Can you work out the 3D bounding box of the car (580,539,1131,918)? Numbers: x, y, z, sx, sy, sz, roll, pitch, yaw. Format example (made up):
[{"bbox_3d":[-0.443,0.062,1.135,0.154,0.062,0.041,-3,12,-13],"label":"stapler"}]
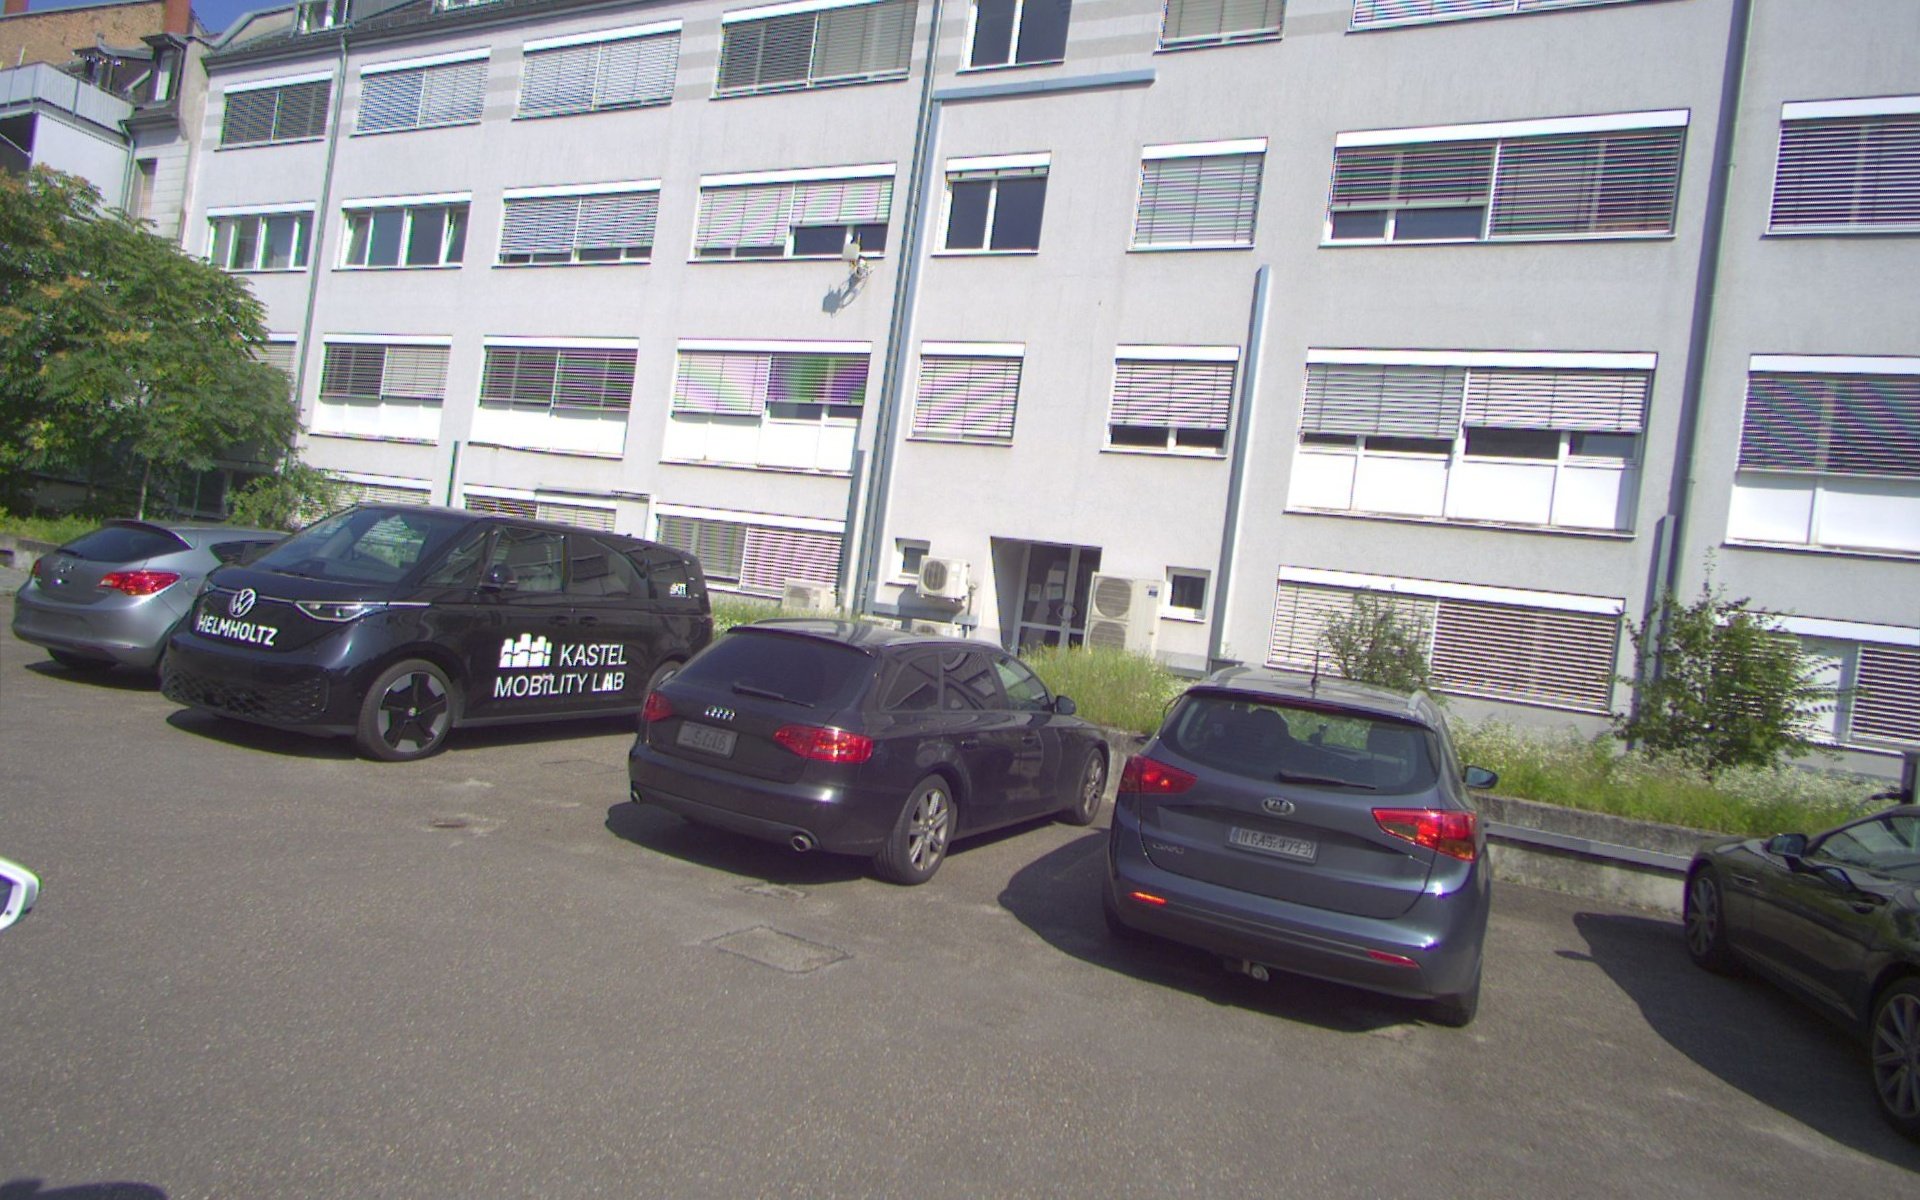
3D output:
[{"bbox_3d":[-0.342,0.795,7.103,1.740,1.711,4.129,7,-2,27],"label":"car"}]

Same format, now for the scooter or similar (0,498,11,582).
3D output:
[{"bbox_3d":[-15.392,-1.008,15.328,1.324,1.276,0.379,7,0,-2],"label":"scooter or similar"}]

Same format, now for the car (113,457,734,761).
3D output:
[{"bbox_3d":[-4.116,0.169,8.748,1.848,1.815,4.517,6,-2,21],"label":"car"}]

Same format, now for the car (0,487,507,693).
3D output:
[{"bbox_3d":[-6.731,0.017,9.895,1.742,1.499,3.946,6,-2,21],"label":"car"}]

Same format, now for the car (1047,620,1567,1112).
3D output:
[{"bbox_3d":[2.117,1.166,5.866,1.846,1.607,3.875,7,-2,25],"label":"car"}]

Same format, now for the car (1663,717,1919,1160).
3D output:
[{"bbox_3d":[5.002,1.525,4.600,1.862,1.607,3.814,7,-2,21],"label":"car"}]
